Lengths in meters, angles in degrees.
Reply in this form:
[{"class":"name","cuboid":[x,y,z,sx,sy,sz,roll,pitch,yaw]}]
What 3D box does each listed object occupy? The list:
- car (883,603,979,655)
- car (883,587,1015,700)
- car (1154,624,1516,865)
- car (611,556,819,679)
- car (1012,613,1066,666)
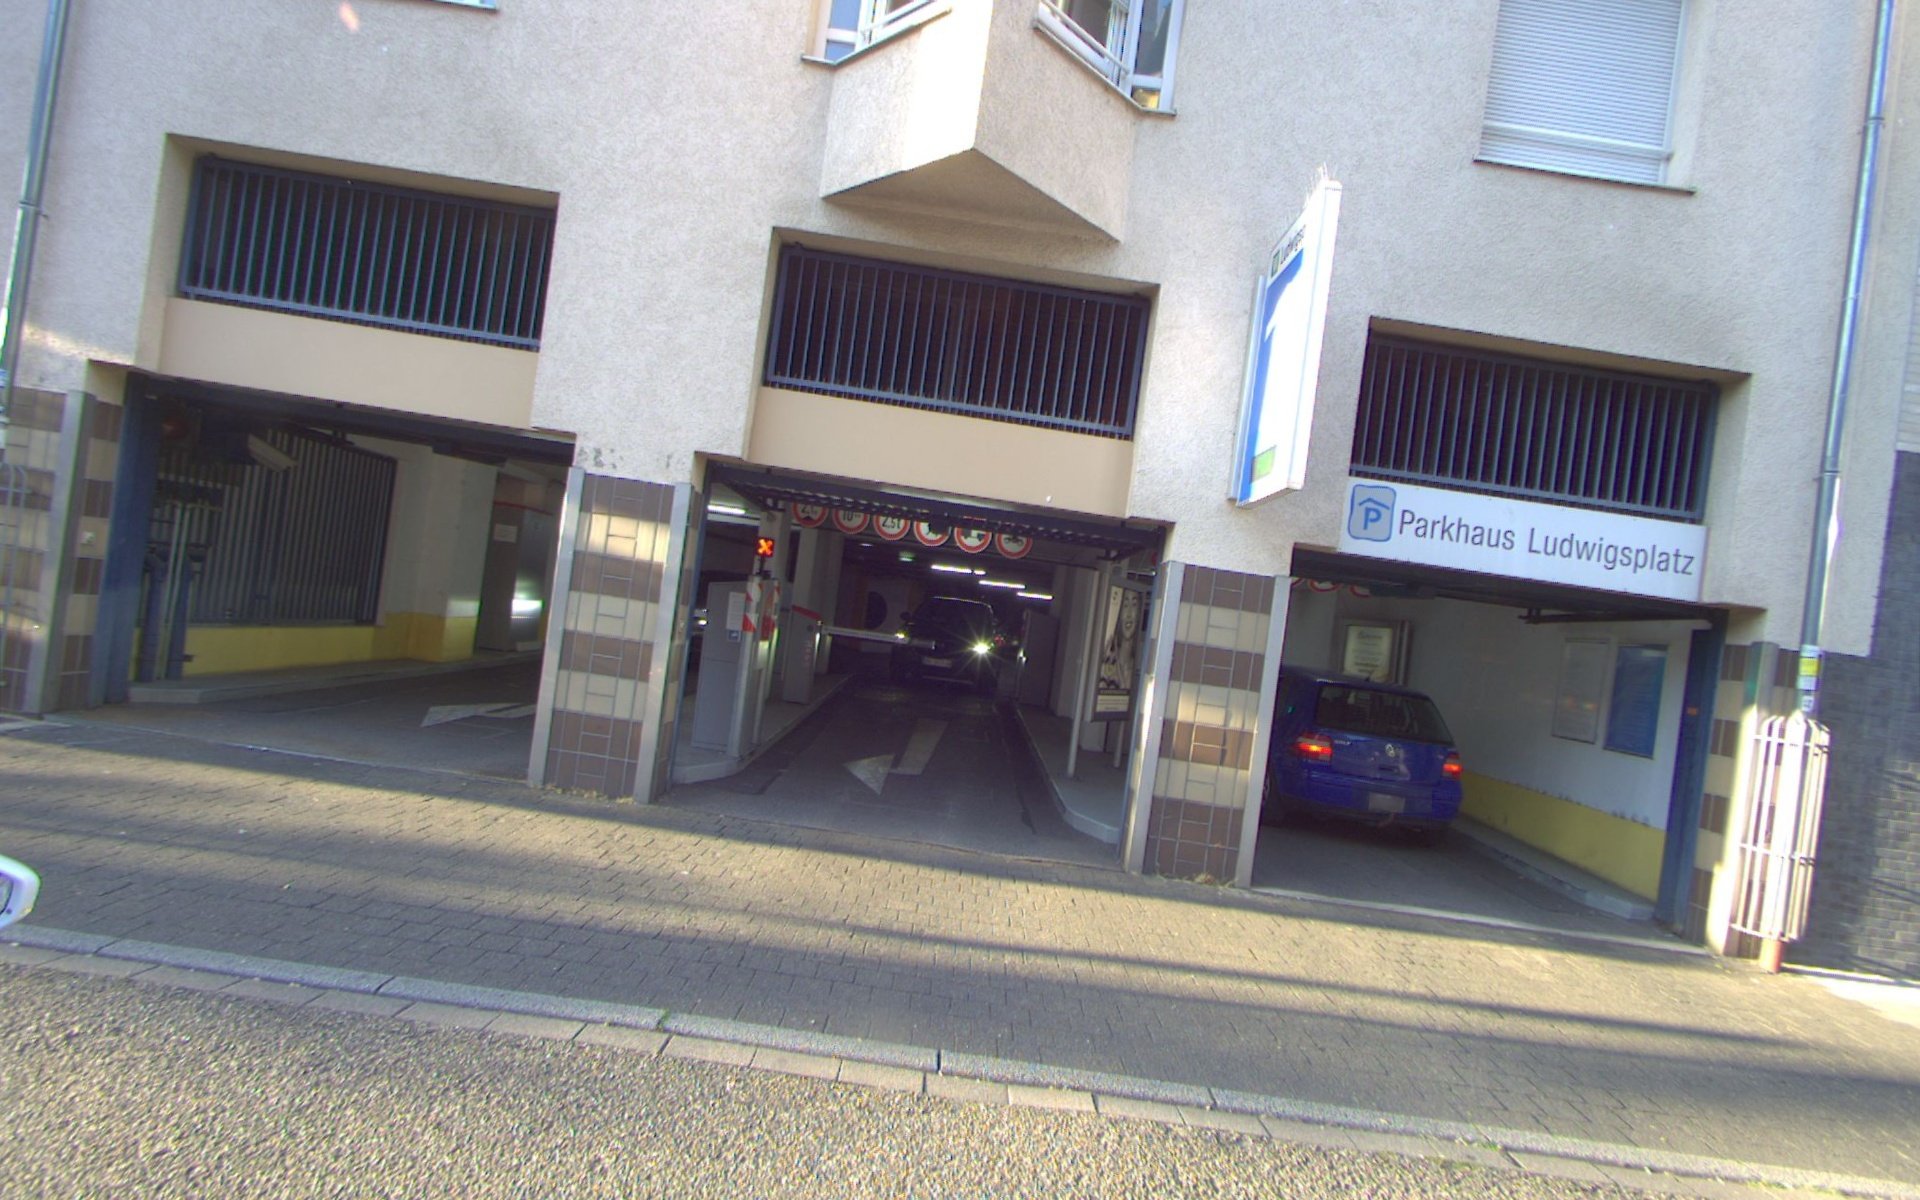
[{"class":"car","cuboid":[-1.144,1.074,37.799,1.595,1.408,3.841,7,0,-36]},{"class":"car","cuboid":[-0.076,0.798,19.155,1.856,1.643,4.303,8,-1,6]},{"class":"car","cuboid":[3.483,1.248,10.305,1.664,1.583,4.112,8,1,-6]},{"class":"car","cuboid":[-3.916,0.308,16.929,1.784,1.592,4.253,7,0,8]},{"class":"car","cuboid":[2.899,1.421,37.662,1.532,1.638,3.880,8,0,0]}]
